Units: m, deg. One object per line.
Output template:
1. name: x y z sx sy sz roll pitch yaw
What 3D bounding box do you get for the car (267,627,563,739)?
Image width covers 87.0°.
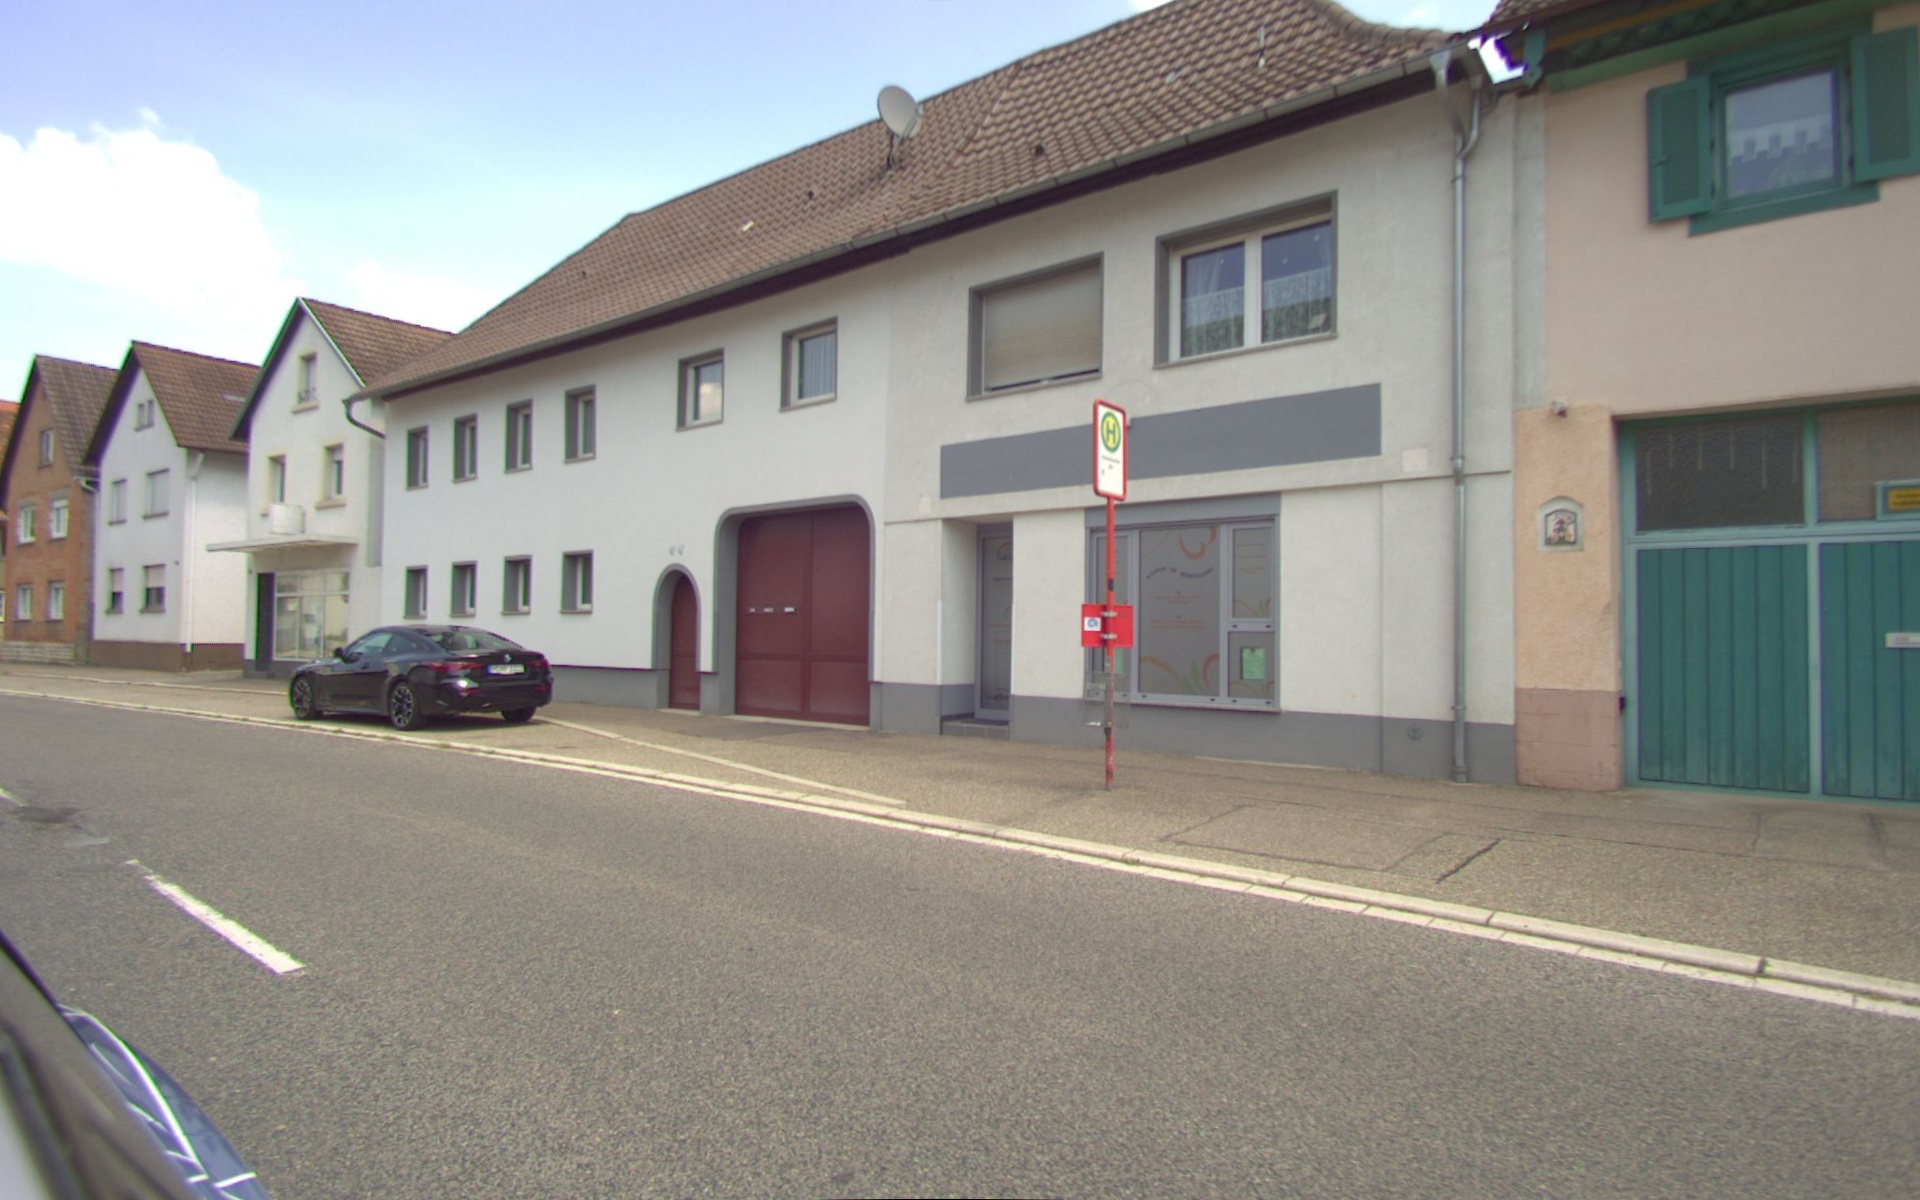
1. car: -7.899 1.100 14.516 4.743 1.359 1.751 -2 -2 34
